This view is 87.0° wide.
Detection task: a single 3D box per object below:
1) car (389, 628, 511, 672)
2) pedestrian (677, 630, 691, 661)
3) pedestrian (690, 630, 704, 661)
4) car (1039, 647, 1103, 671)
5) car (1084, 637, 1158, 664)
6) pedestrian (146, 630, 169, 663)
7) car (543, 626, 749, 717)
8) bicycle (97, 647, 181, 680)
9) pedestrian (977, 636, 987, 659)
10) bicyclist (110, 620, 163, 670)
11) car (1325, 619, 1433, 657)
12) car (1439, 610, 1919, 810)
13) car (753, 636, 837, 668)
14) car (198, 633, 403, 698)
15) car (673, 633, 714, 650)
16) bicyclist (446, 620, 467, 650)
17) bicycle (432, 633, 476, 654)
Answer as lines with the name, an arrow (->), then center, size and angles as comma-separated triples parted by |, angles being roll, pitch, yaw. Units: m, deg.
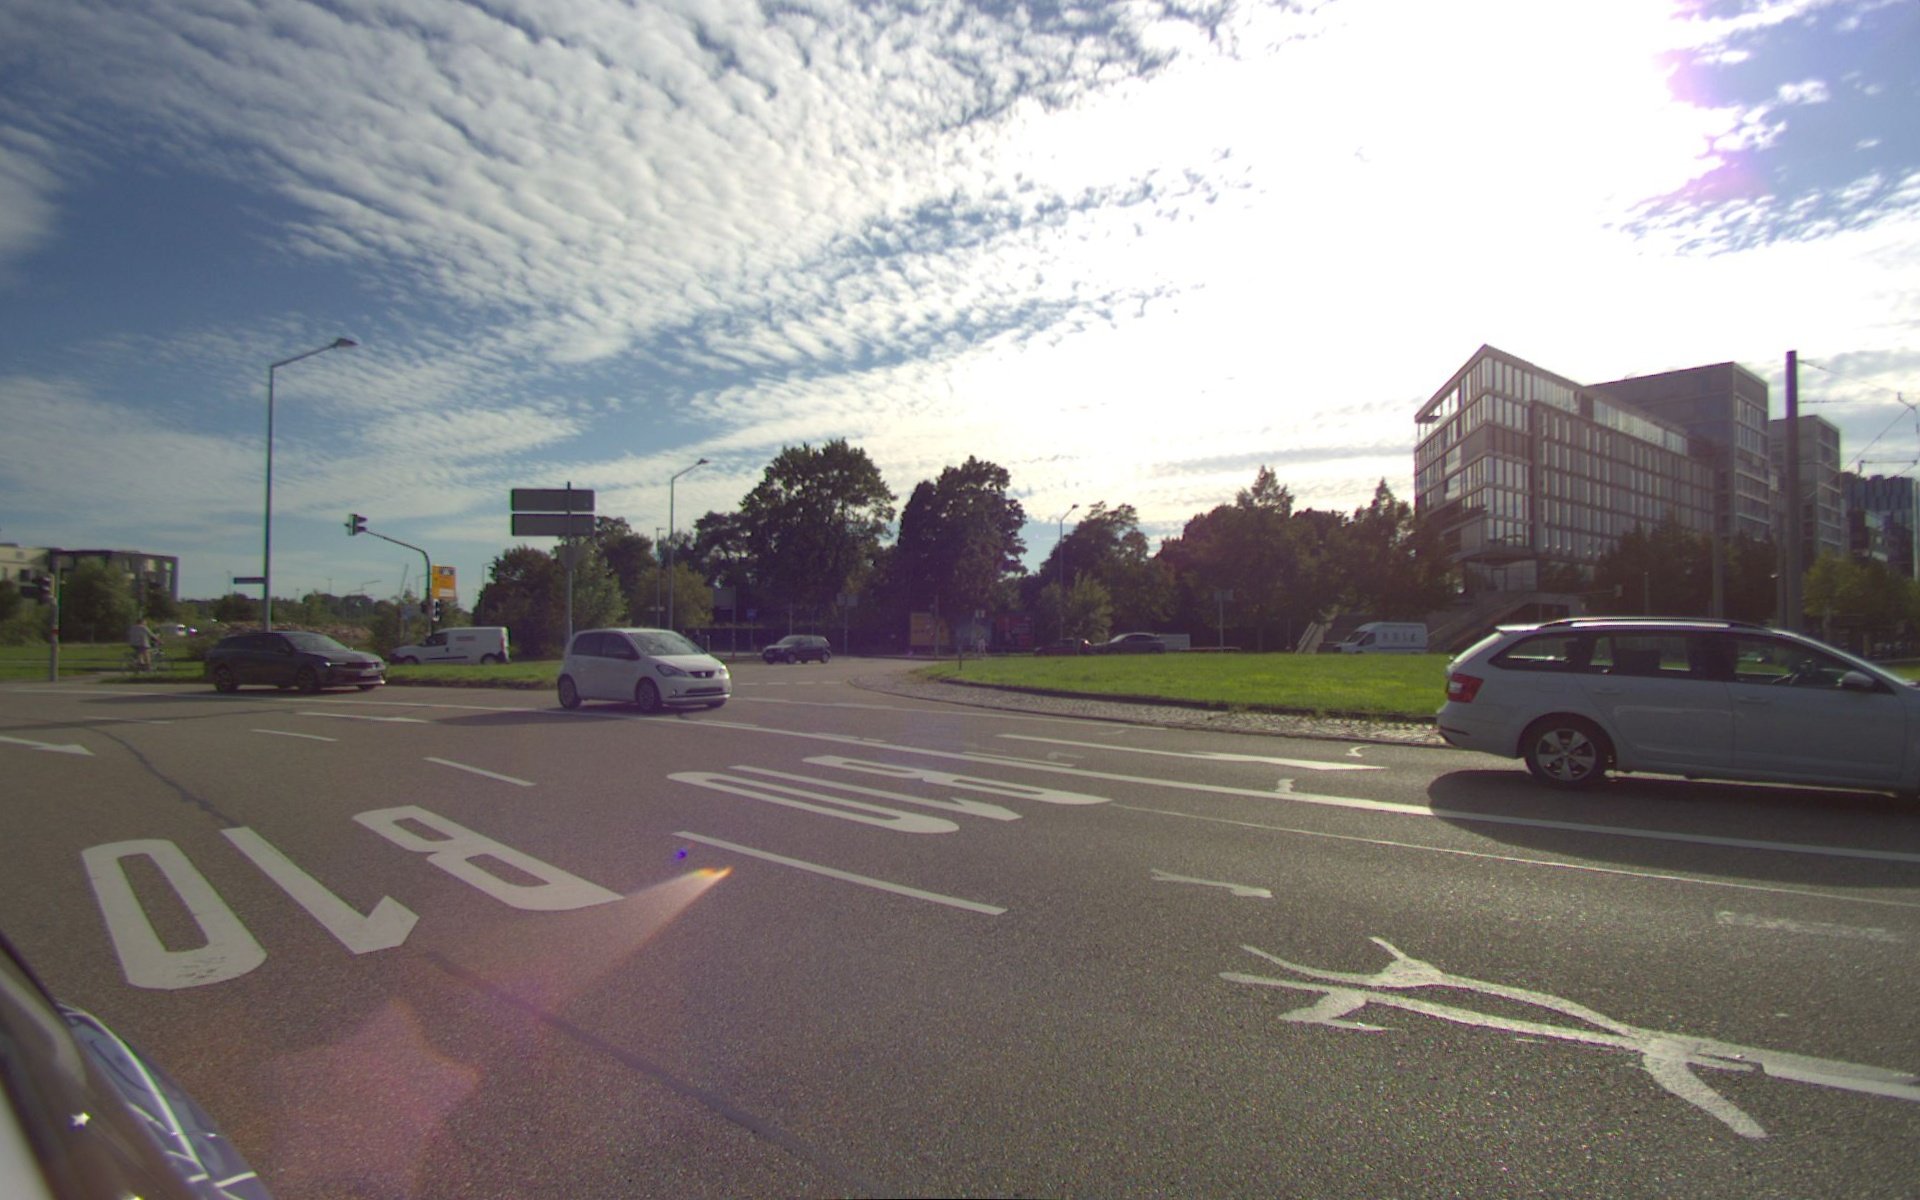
car -> -21.870, 2.184, 43.598 | 4.482, 1.839, 1.691 | 1, -4, -20
pedestrian -> -17.545, 2.890, 64.317 | 0.852, 1.930, 0.899 | 0, 0, -15
pedestrian -> -16.866, 2.891, 64.805 | 0.852, 1.930, 0.899 | 0, 0, -15
car -> 7.223, 3.831, 65.893 | 3.959, 1.513, 1.676 | -1, -4, 17
car -> 9.489, 2.980, 59.610 | 3.927, 1.513, 1.690 | 1, -4, -14
pedestrian -> -40.329, 2.347, 50.874 | 0.649, 1.642, 0.628 | 0, -1, 5
car -> -5.756, 1.246, 18.446 | 3.652, 1.475, 1.746 | -2, -2, 35
bicycle -> -26.311, 2.015, 32.469 | 0.990, 1.015, 1.957 | 0, -2, 7
pedestrian -> 1.553, 3.387, 72.031 | 0.506, 1.637, 0.540 | -2, -3, 42
bicyclist -> -26.324, 1.430, 32.364 | 0.985, 1.568, 0.864 | 0, -2, 7
car -> 26.098, 2.410, 63.170 | 5.928, 2.281, 2.069 | 0, -4, -8
car -> 6.767, 0.832, 8.623 | 4.627, 1.456, 1.835 | -2, -2, 35
car -> -8.225, 2.647, 50.663 | 1.686, 1.513, 3.936 | -4, -6, 44
car -> -16.103, 1.549, 24.750 | 4.408, 1.431, 1.814 | 0, -1, 17
car -> -24.743, 3.814, 93.952 | 3.998, 1.431, 1.745 | -1, -1, 41
bicyclist -> -24.444, 1.700, 49.144 | 0.609, 1.457, 0.690 | -1, -3, 34
bicycle -> -24.510, 2.102, 49.037 | 0.609, 0.996, 1.816 | -2, -3, 34
